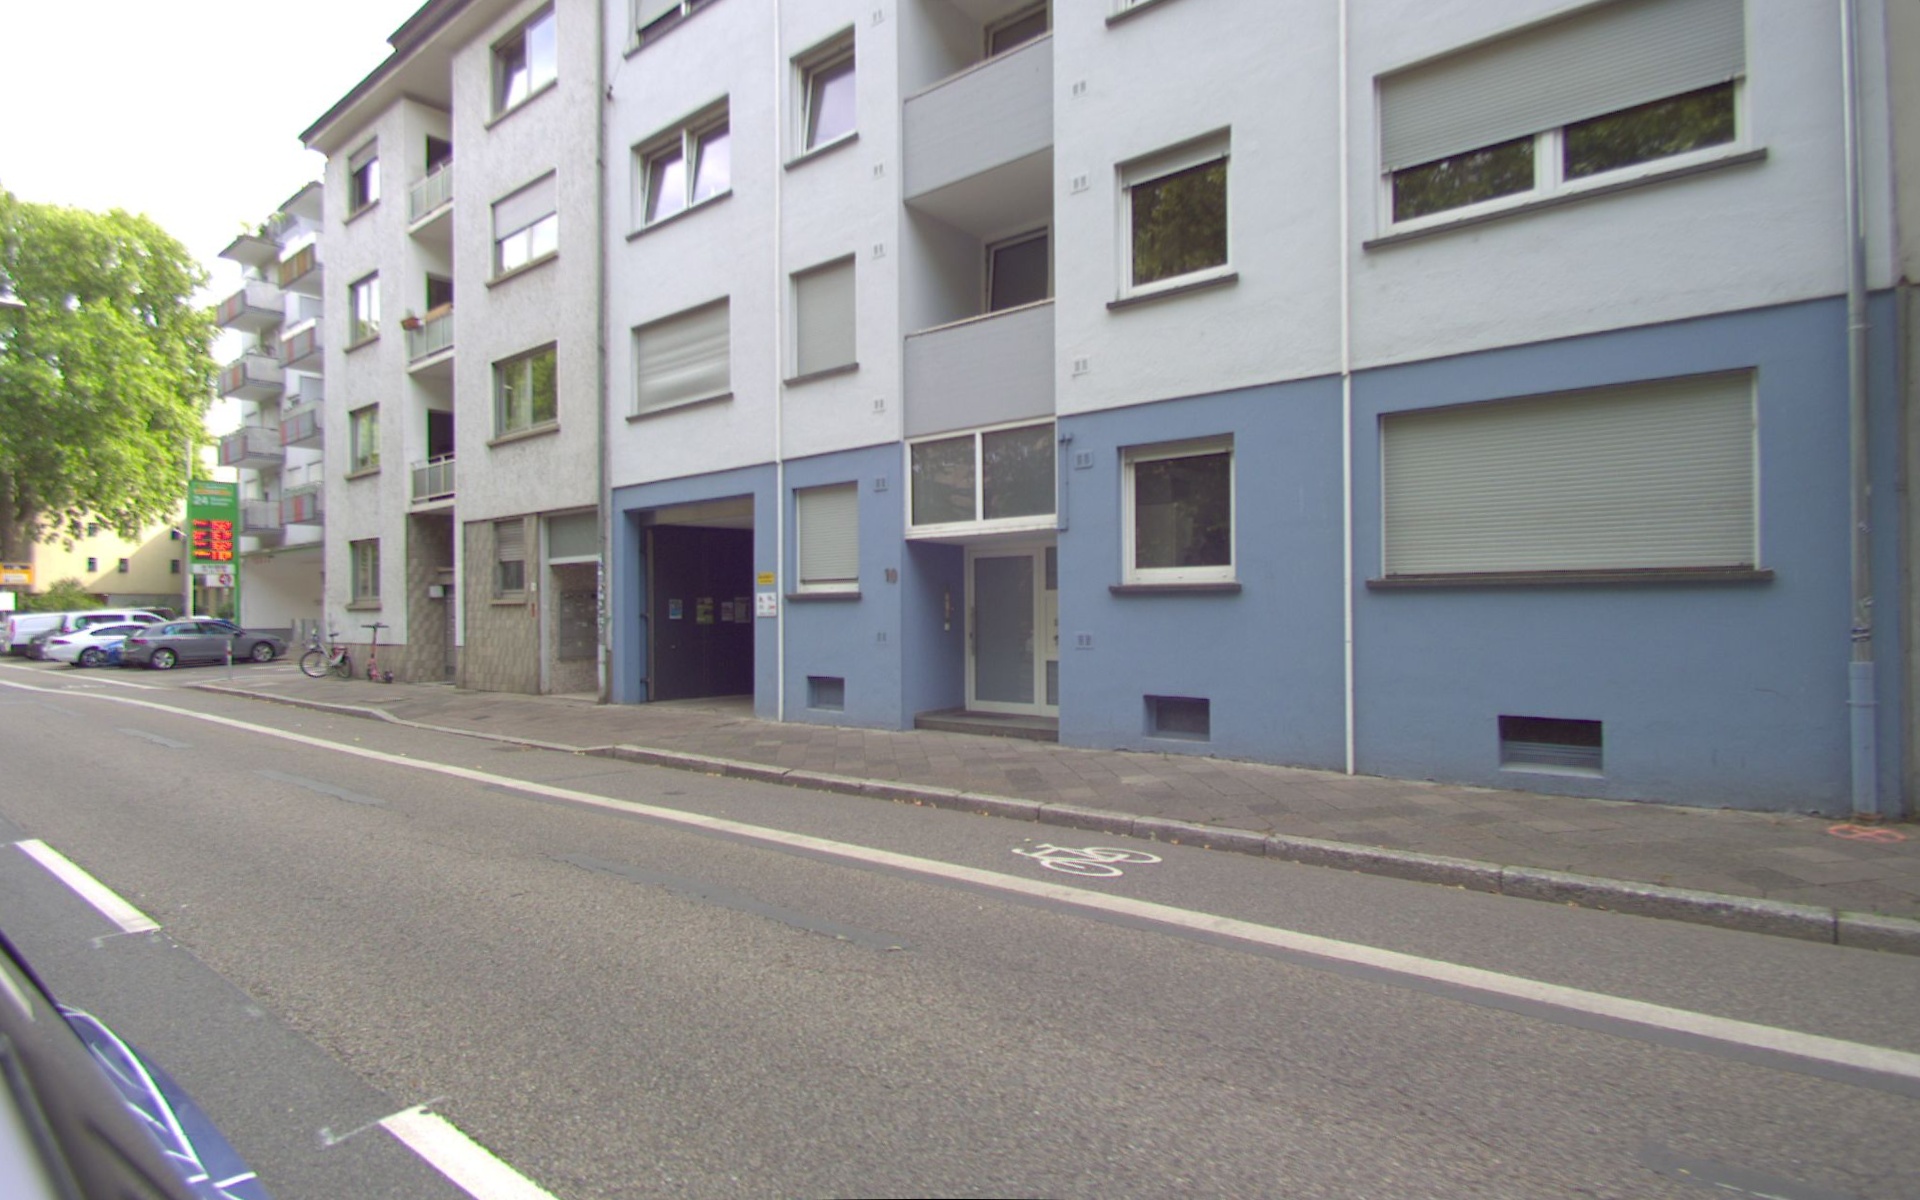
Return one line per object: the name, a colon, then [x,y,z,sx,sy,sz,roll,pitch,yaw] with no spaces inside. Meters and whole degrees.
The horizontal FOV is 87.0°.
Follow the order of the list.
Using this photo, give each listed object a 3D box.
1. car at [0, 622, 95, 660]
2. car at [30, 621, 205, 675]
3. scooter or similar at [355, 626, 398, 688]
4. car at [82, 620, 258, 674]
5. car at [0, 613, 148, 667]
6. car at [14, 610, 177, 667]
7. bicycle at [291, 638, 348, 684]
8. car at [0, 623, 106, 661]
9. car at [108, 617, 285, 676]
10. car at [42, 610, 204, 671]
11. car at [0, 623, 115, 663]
car: [-45.641,2.036,49.771,1.753,1.618,4.473,-2,1,40]
car: [-28.362,1.578,34.177,1.872,1.462,4.229,-2,1,40]
scooter or similar: [-12.083,1.167,20.948,1.201,1.231,0.346,-2,0,40]
car: [-25.986,1.502,33.415,1.909,1.462,4.258,-2,1,40]
car: [-37.081,1.617,42.299,1.949,1.873,4.569,-2,1,40]
car: [-34.946,1.511,41.021,1.992,1.948,4.719,-2,1,40]
bicycle: [-14.270,1.339,22.538,1.661,0.957,0.591,-2,0,40]
car: [-43.818,2.001,48.348,1.731,1.560,4.318,-2,1,40]
car: [-24.059,1.422,32.001,1.836,1.525,4.109,-2,1,40]
car: [-30.006,1.406,36.374,1.922,1.861,4.169,-2,1,40]
car: [-42.164,1.968,47.012,1.718,1.522,4.222,-2,1,40]
